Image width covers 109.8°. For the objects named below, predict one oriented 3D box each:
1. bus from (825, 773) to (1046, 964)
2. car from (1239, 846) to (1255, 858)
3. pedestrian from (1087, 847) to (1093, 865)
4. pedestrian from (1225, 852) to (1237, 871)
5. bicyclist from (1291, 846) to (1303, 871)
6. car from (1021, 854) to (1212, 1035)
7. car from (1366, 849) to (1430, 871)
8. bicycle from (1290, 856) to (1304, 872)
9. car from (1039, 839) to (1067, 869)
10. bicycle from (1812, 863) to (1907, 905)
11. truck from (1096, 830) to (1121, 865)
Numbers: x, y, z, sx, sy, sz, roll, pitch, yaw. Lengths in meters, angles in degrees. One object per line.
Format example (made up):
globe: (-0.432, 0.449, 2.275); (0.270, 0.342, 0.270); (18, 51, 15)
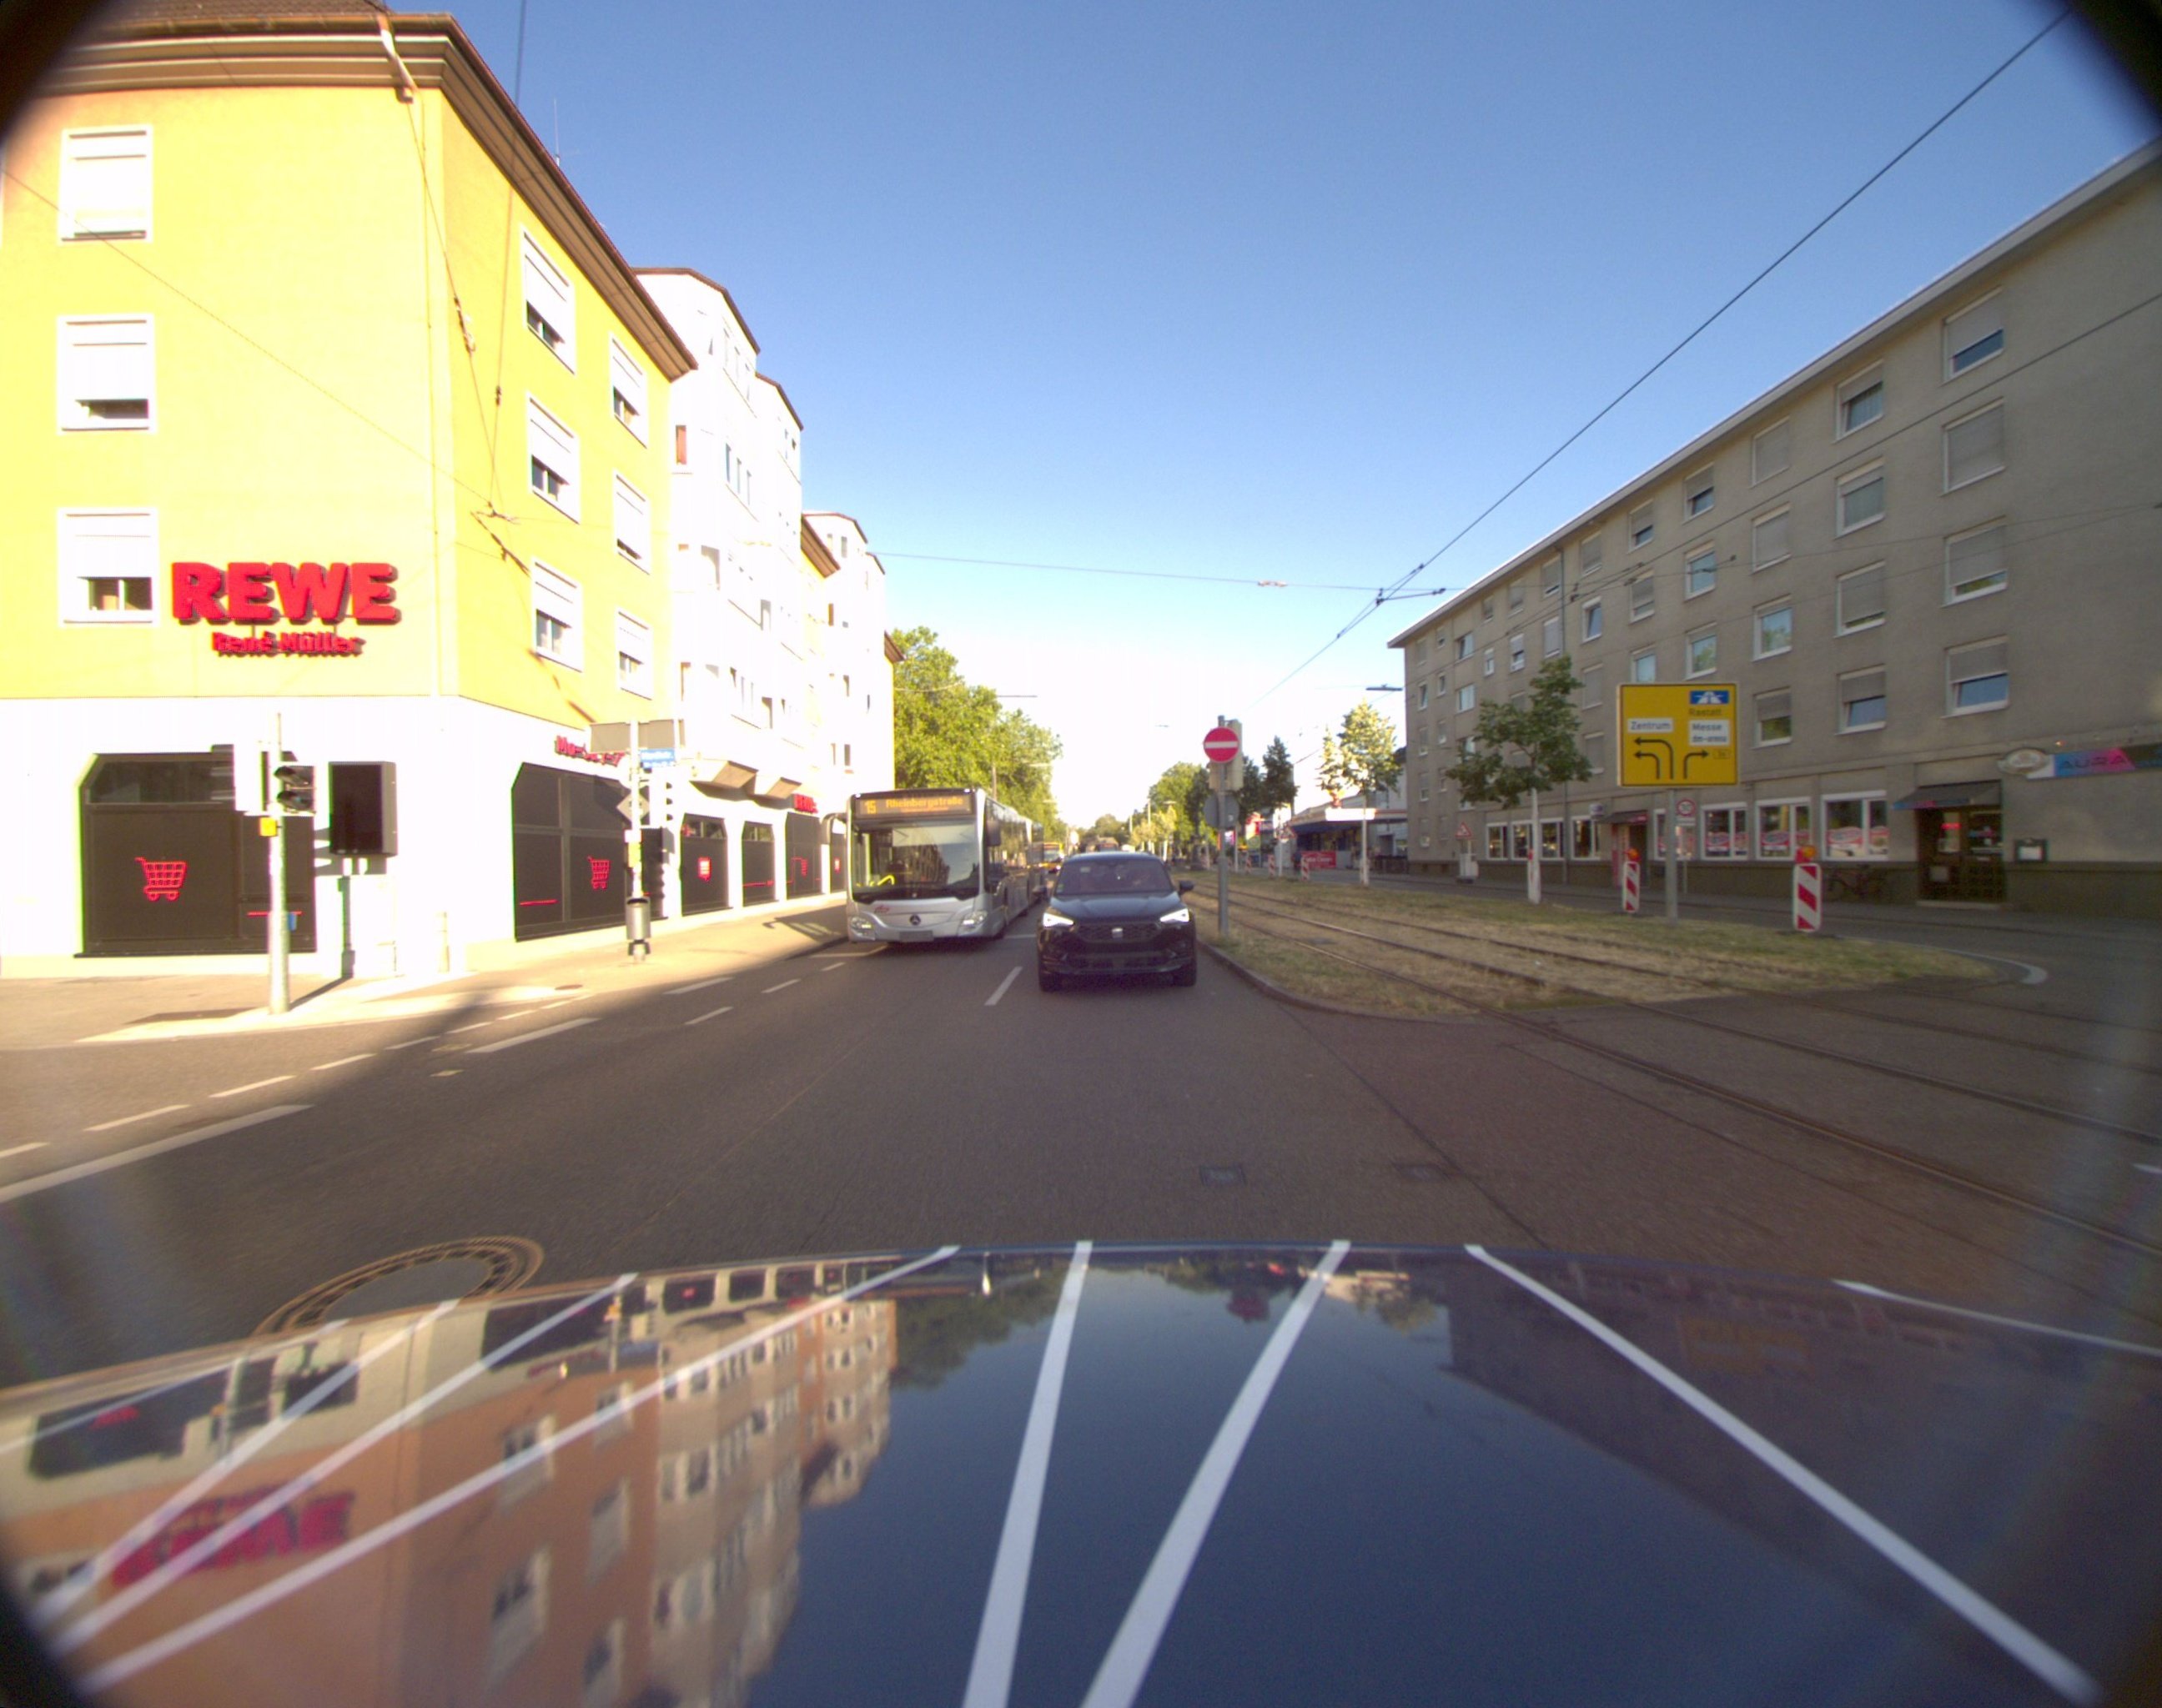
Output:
bus: (-2.840, 0.188, 21.603); (2.773, 3.131, 17.739); (-2, 0, 0)
car: (23.371, -0.332, 107.129); (1.781, 1.547, 4.001); (-2, 1, 8)
pedestrian: (0.982, 0.245, 83.612); (0.625, 2.002, 0.695); (-2, 1, -1)
pedestrian: (10.452, 0.514, 53.025); (0.664, 1.263, 0.581); (-2, 0, 0)
bicyclist: (16.453, 0.316, 57.793); (0.653, 1.871, 0.809); (0, 1, -1)
car: (0.317, 0.869, 9.306); (1.775, 1.667, 3.999); (-2, 0, -1)
car: (22.279, 0.454, 53.476); (3.728, 1.460, 1.908); (0, -1, -2)
bicycle: (16.430, 0.753, 57.809); (0.456, 1.250, 1.870); (-1, 0, -1)
car: (-2.837, -0.019, 77.375); (2.681, 2.875, 5.451); (-2, 1, -1)
bicycle: (20.664, 0.773, 20.225); (0.609, 1.018, 1.844); (-2, 1, -1)
truck: (3.010, -0.756, 86.102); (2.306, 3.798, 7.721); (-2, 1, -1)
